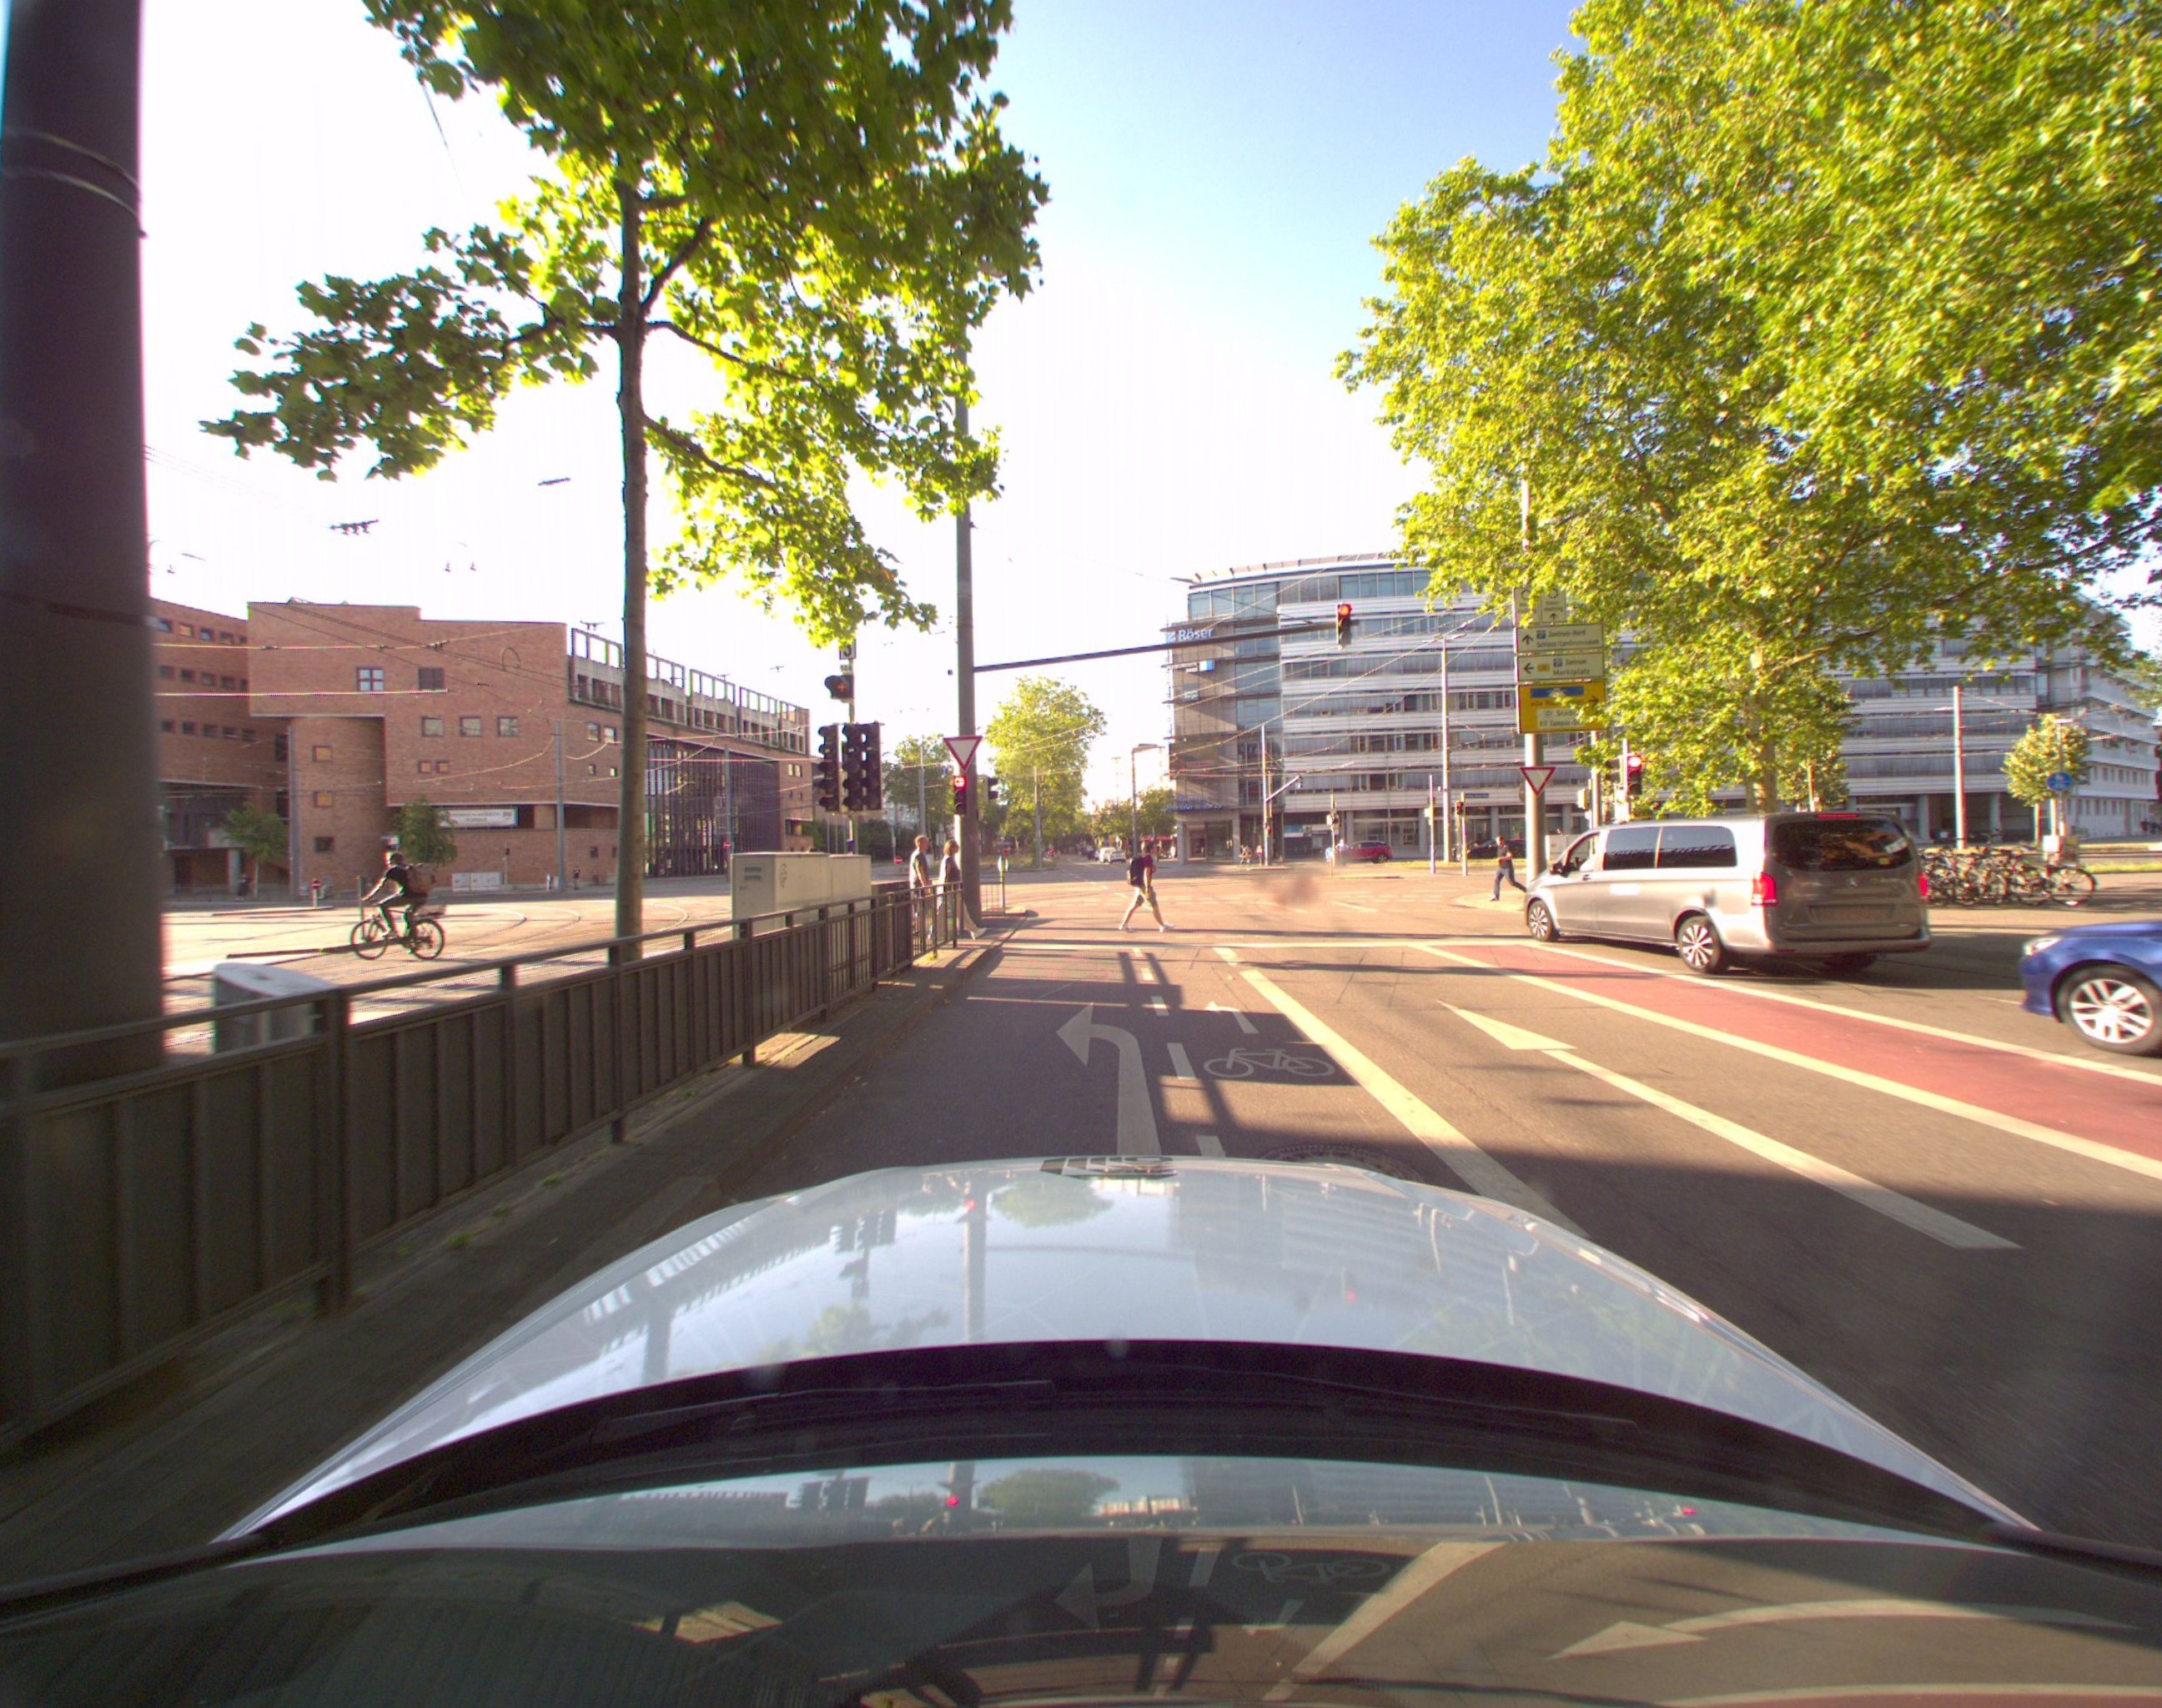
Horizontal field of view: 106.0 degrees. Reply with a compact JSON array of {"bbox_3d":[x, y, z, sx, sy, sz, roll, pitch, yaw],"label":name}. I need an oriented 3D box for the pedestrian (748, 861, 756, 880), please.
[{"bbox_3d":[-27.700,1.387,68.614,0.538,1.650,0.622,-2,0,-18],"label":"pedestrian"}]

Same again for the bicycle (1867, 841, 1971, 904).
[{"bbox_3d":[16.165,0.342,15.753,0.448,1.144,1.476,-2,0,0],"label":"bicycle"}]

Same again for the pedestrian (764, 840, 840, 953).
[{"bbox_3d":[-4.775,0.716,14.001,1.072,1.871,0.737,-1,-1,-6],"label":"pedestrian"}]

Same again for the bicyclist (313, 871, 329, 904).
[{"bbox_3d":[-48.506,2.142,51.986,0.562,2.060,0.449,-2,0,-17],"label":"bicyclist"}]

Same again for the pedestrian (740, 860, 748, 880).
[{"bbox_3d":[-27.475,1.317,66.436,0.538,1.650,0.622,-2,0,-18],"label":"pedestrian"}]

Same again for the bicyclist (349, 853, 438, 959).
[{"bbox_3d":[-12.054,0.890,14.305,0.847,1.785,0.752,-2,0,-1],"label":"bicyclist"}]

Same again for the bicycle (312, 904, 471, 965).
[{"bbox_3d":[-12.083,1.398,14.313,2.171,0.933,0.667,-2,0,-2],"label":"bicycle"}]

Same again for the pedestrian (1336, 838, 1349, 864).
[{"bbox_3d":[16.672,-0.183,51.987,0.716,1.681,0.558,-1,0,8],"label":"pedestrian"}]

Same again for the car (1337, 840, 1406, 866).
[{"bbox_3d":[20.201,-0.066,56.807,4.219,1.602,1.798,-2,0,5],"label":"car"}]

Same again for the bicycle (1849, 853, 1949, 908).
[{"bbox_3d":[15.651,0.481,15.628,0.419,0.979,1.476,-2,0,0],"label":"bicycle"}]

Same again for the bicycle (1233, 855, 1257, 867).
[{"bbox_3d":[12.607,0.541,62.631,1.732,0.899,0.410,-2,0,6],"label":"bicycle"}]

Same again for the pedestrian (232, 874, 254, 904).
[{"bbox_3d":[-46.211,1.939,44.907,0.542,1.613,0.613,0,1,-4],"label":"pedestrian"}]

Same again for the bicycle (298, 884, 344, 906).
[{"bbox_3d":[-48.500,2.614,51.979,2.095,1.239,0.450,-2,0,-18],"label":"bicycle"}]

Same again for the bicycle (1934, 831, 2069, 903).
[{"bbox_3d":[17.734,0.237,15.757,0.448,1.286,1.887,-2,0,0],"label":"bicycle"}]

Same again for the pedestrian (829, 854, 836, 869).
[{"bbox_3d":[-30.915,0.964,101.422,0.638,1.810,0.547,-2,0,8],"label":"pedestrian"}]

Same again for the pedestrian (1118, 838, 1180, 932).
[{"bbox_3d":[1.269,0.575,15.370,1.071,1.715,0.628,-1,-1,-3],"label":"pedestrian"}]

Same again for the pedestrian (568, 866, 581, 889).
[{"bbox_3d":[-35.872,1.684,57.666,0.538,1.613,0.575,-2,0,32],"label":"pedestrian"}]

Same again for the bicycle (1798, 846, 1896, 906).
[{"bbox_3d":[14.870,0.407,15.854,0.487,1.093,1.476,-2,0,0],"label":"bicycle"}]

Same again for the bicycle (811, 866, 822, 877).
[{"bbox_3d":[-24.480,1.615,75.403,0.512,0.881,1.835,-2,0,-7],"label":"bicycle"}]

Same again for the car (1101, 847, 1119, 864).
[{"bbox_3d":[3.490,0.212,98.976,1.987,1.991,4.001,-2,0,1],"label":"car"}]

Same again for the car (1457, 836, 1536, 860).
[{"bbox_3d":[27.145,-0.367,53.296,4.220,1.392,1.798,-2,0,5],"label":"car"}]

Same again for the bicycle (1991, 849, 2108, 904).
[{"bbox_3d":[18.500,0.403,15.599,0.448,0.982,1.476,-2,0,0],"label":"bicycle"}]

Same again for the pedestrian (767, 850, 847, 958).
[{"bbox_3d":[-4.422,0.789,13.208,1.071,1.682,0.756,-1,-1,-6],"label":"pedestrian"}]

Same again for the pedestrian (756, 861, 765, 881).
[{"bbox_3d":[-26.554,1.426,67.483,0.538,1.650,0.622,-2,0,-18],"label":"pedestrian"}]

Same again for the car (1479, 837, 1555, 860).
[{"bbox_3d":[29.833,-0.392,55.786,4.216,1.392,1.800,-2,0,8],"label":"car"}]

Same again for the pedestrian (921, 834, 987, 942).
[{"bbox_3d":[-2.195,0.576,14.161,1.070,1.806,0.756,-1,-1,-6],"label":"pedestrian"}]

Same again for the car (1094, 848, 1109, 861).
[{"bbox_3d":[2.900,0.086,114.385,1.987,1.662,4.001,-2,0,1],"label":"car"}]

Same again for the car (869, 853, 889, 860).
[{"bbox_3d":[-44.438,0.606,178.784,4.012,1.552,1.591,0,-1,-30],"label":"car"}]

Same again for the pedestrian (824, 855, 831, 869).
[{"bbox_3d":[-31.132,0.996,99.942,0.519,1.779,0.547,-2,0,8],"label":"pedestrian"}]

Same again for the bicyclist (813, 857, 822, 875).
[{"bbox_3d":[-24.390,1.101,75.462,0.592,1.675,0.788,-2,0,-5],"label":"bicyclist"}]

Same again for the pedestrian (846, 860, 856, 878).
[{"bbox_3d":[-20.175,1.293,71.470,0.754,1.530,0.507,0,0,-6],"label":"pedestrian"}]

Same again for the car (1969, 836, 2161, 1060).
[{"bbox_3d":[8.098,0.620,4.495,1.759,1.464,4.216,-2,0,0],"label":"car"}]

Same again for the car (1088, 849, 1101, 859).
[{"bbox_3d":[2.240,0.032,136.068,1.987,1.662,4.001,-2,0,1],"label":"car"}]

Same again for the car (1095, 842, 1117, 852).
[{"bbox_3d":[4.634,-1.353,150.574,3.733,1.750,1.789,0,-1,15],"label":"car"}]

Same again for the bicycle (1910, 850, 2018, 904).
[{"bbox_3d":[16.954,0.421,15.686,0.448,0.982,1.476,-2,0,0],"label":"bicycle"}]

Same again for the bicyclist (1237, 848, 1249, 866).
[{"bbox_3d":[12.484,0.217,62.640,0.814,1.366,0.401,-2,0,6],"label":"bicyclist"}]

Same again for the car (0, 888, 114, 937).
[{"bbox_3d":[-35.794,2.003,27.392,3.944,1.456,1.998,-2,0,-3],"label":"car"}]

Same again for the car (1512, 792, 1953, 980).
[{"bbox_3d":[8.180,0.323,11.095,1.986,1.966,5.139,0,0,1],"label":"car"}]

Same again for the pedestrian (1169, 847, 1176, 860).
[{"bbox_3d":[10.391,-0.081,92.548,0.737,1.465,0.536,-2,0,-1],"label":"pedestrian"}]

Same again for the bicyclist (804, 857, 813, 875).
[{"bbox_3d":[-25.154,1.102,75.212,0.592,1.675,0.788,-2,0,-5],"label":"bicyclist"}]

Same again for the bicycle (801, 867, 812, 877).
[{"bbox_3d":[-25.297,1.664,75.104,0.512,0.881,1.835,-2,0,-7],"label":"bicycle"}]

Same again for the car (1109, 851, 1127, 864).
[{"bbox_3d":[4.166,0.396,92.187,1.987,1.332,4.001,-2,0,1],"label":"car"}]

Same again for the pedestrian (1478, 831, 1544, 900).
[{"bbox_3d":[11.607,0.312,22.008,1.206,1.822,1.040,0,-1,-5],"label":"pedestrian"}]

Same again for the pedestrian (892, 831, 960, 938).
[{"bbox_3d":[-2.816,0.538,14.897,1.144,1.893,0.831,-1,-1,-6],"label":"pedestrian"}]
